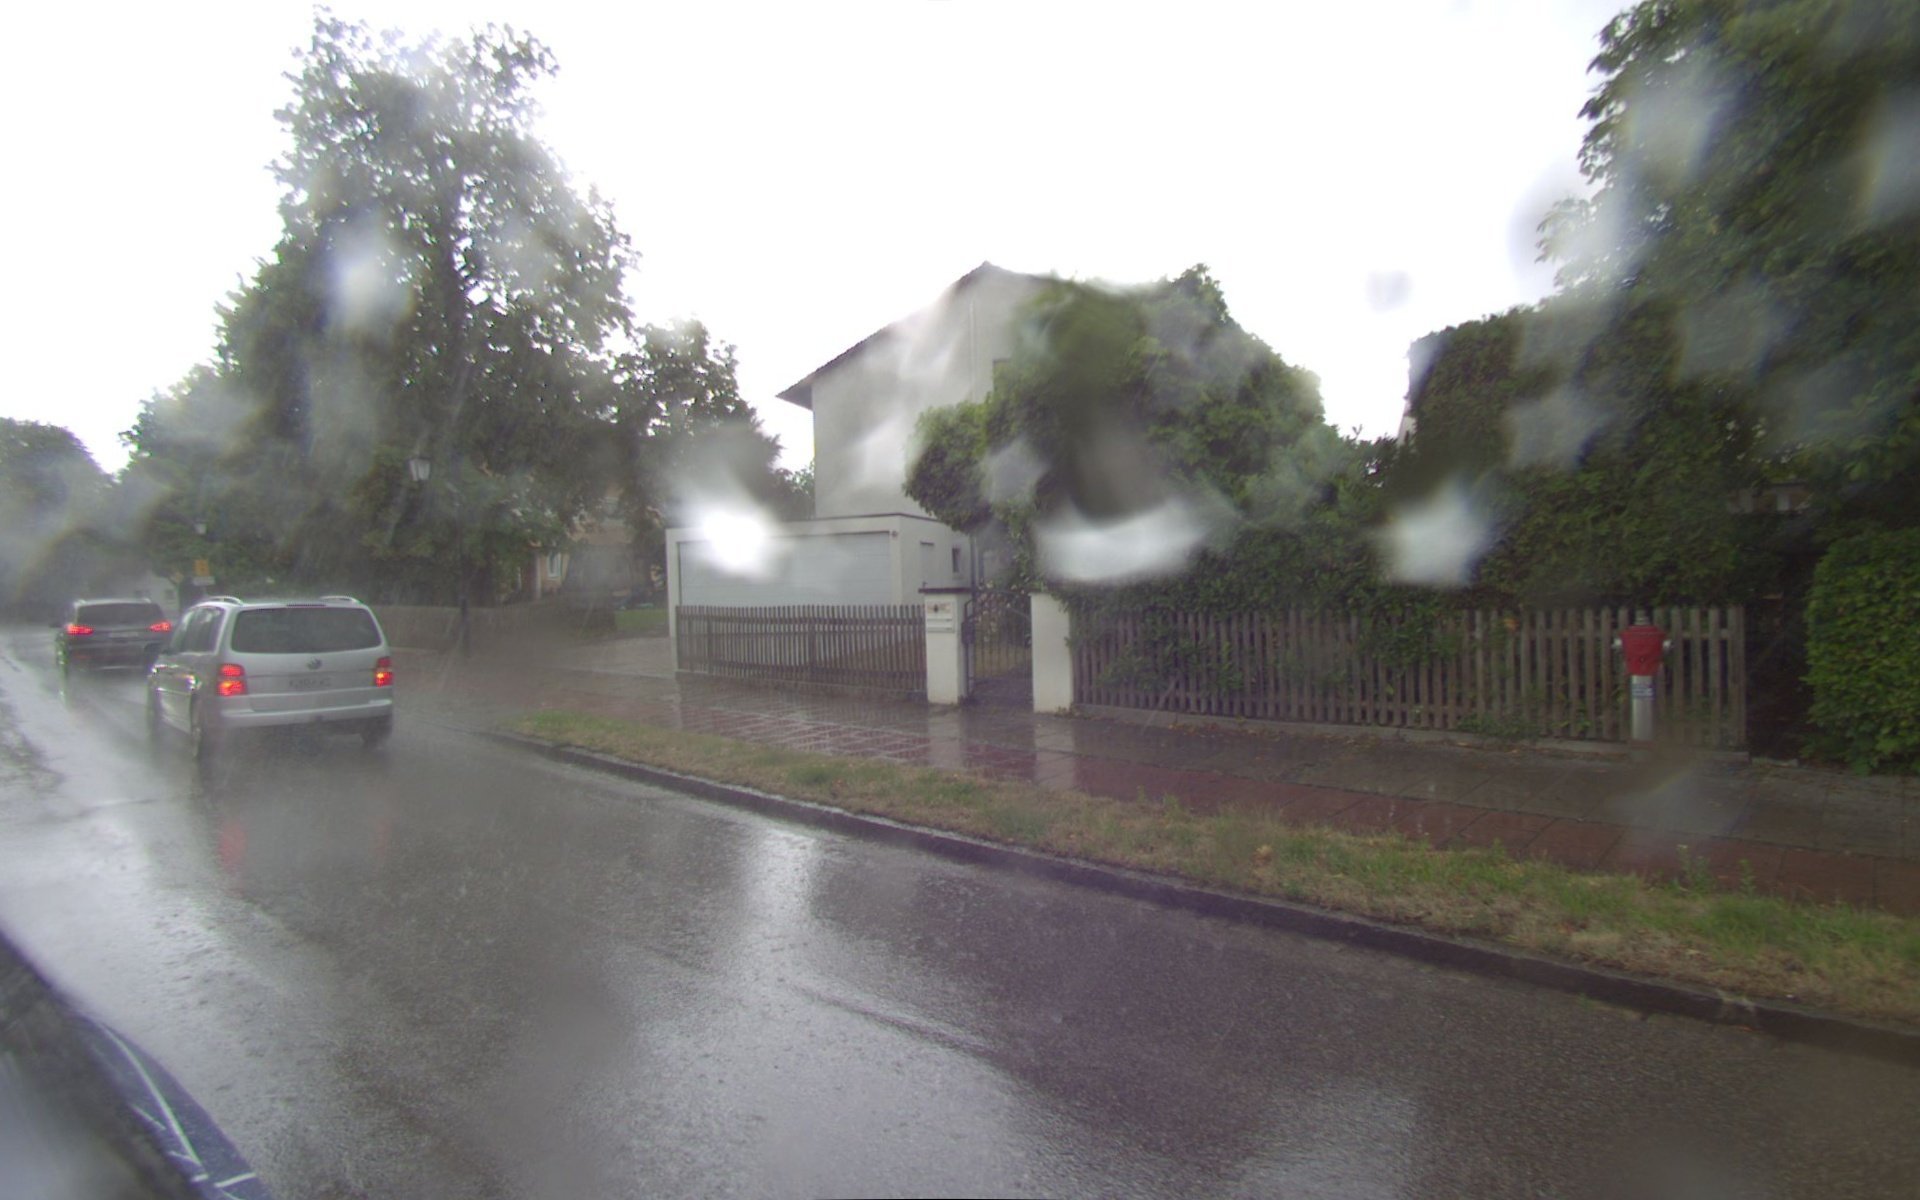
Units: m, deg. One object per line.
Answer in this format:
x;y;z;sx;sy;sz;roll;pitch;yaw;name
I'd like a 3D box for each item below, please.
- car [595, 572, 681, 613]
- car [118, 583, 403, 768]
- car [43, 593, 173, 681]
-16.238;-0.389;51.044;3.618;1.815;1.836;-3;2;11;car
-7.889;0.721;11.276;3.999;1.690;1.734;-1;-1;42;car
-19.001;0.756;22.503;1.900;1.757;4.194;0;-1;-45;car
